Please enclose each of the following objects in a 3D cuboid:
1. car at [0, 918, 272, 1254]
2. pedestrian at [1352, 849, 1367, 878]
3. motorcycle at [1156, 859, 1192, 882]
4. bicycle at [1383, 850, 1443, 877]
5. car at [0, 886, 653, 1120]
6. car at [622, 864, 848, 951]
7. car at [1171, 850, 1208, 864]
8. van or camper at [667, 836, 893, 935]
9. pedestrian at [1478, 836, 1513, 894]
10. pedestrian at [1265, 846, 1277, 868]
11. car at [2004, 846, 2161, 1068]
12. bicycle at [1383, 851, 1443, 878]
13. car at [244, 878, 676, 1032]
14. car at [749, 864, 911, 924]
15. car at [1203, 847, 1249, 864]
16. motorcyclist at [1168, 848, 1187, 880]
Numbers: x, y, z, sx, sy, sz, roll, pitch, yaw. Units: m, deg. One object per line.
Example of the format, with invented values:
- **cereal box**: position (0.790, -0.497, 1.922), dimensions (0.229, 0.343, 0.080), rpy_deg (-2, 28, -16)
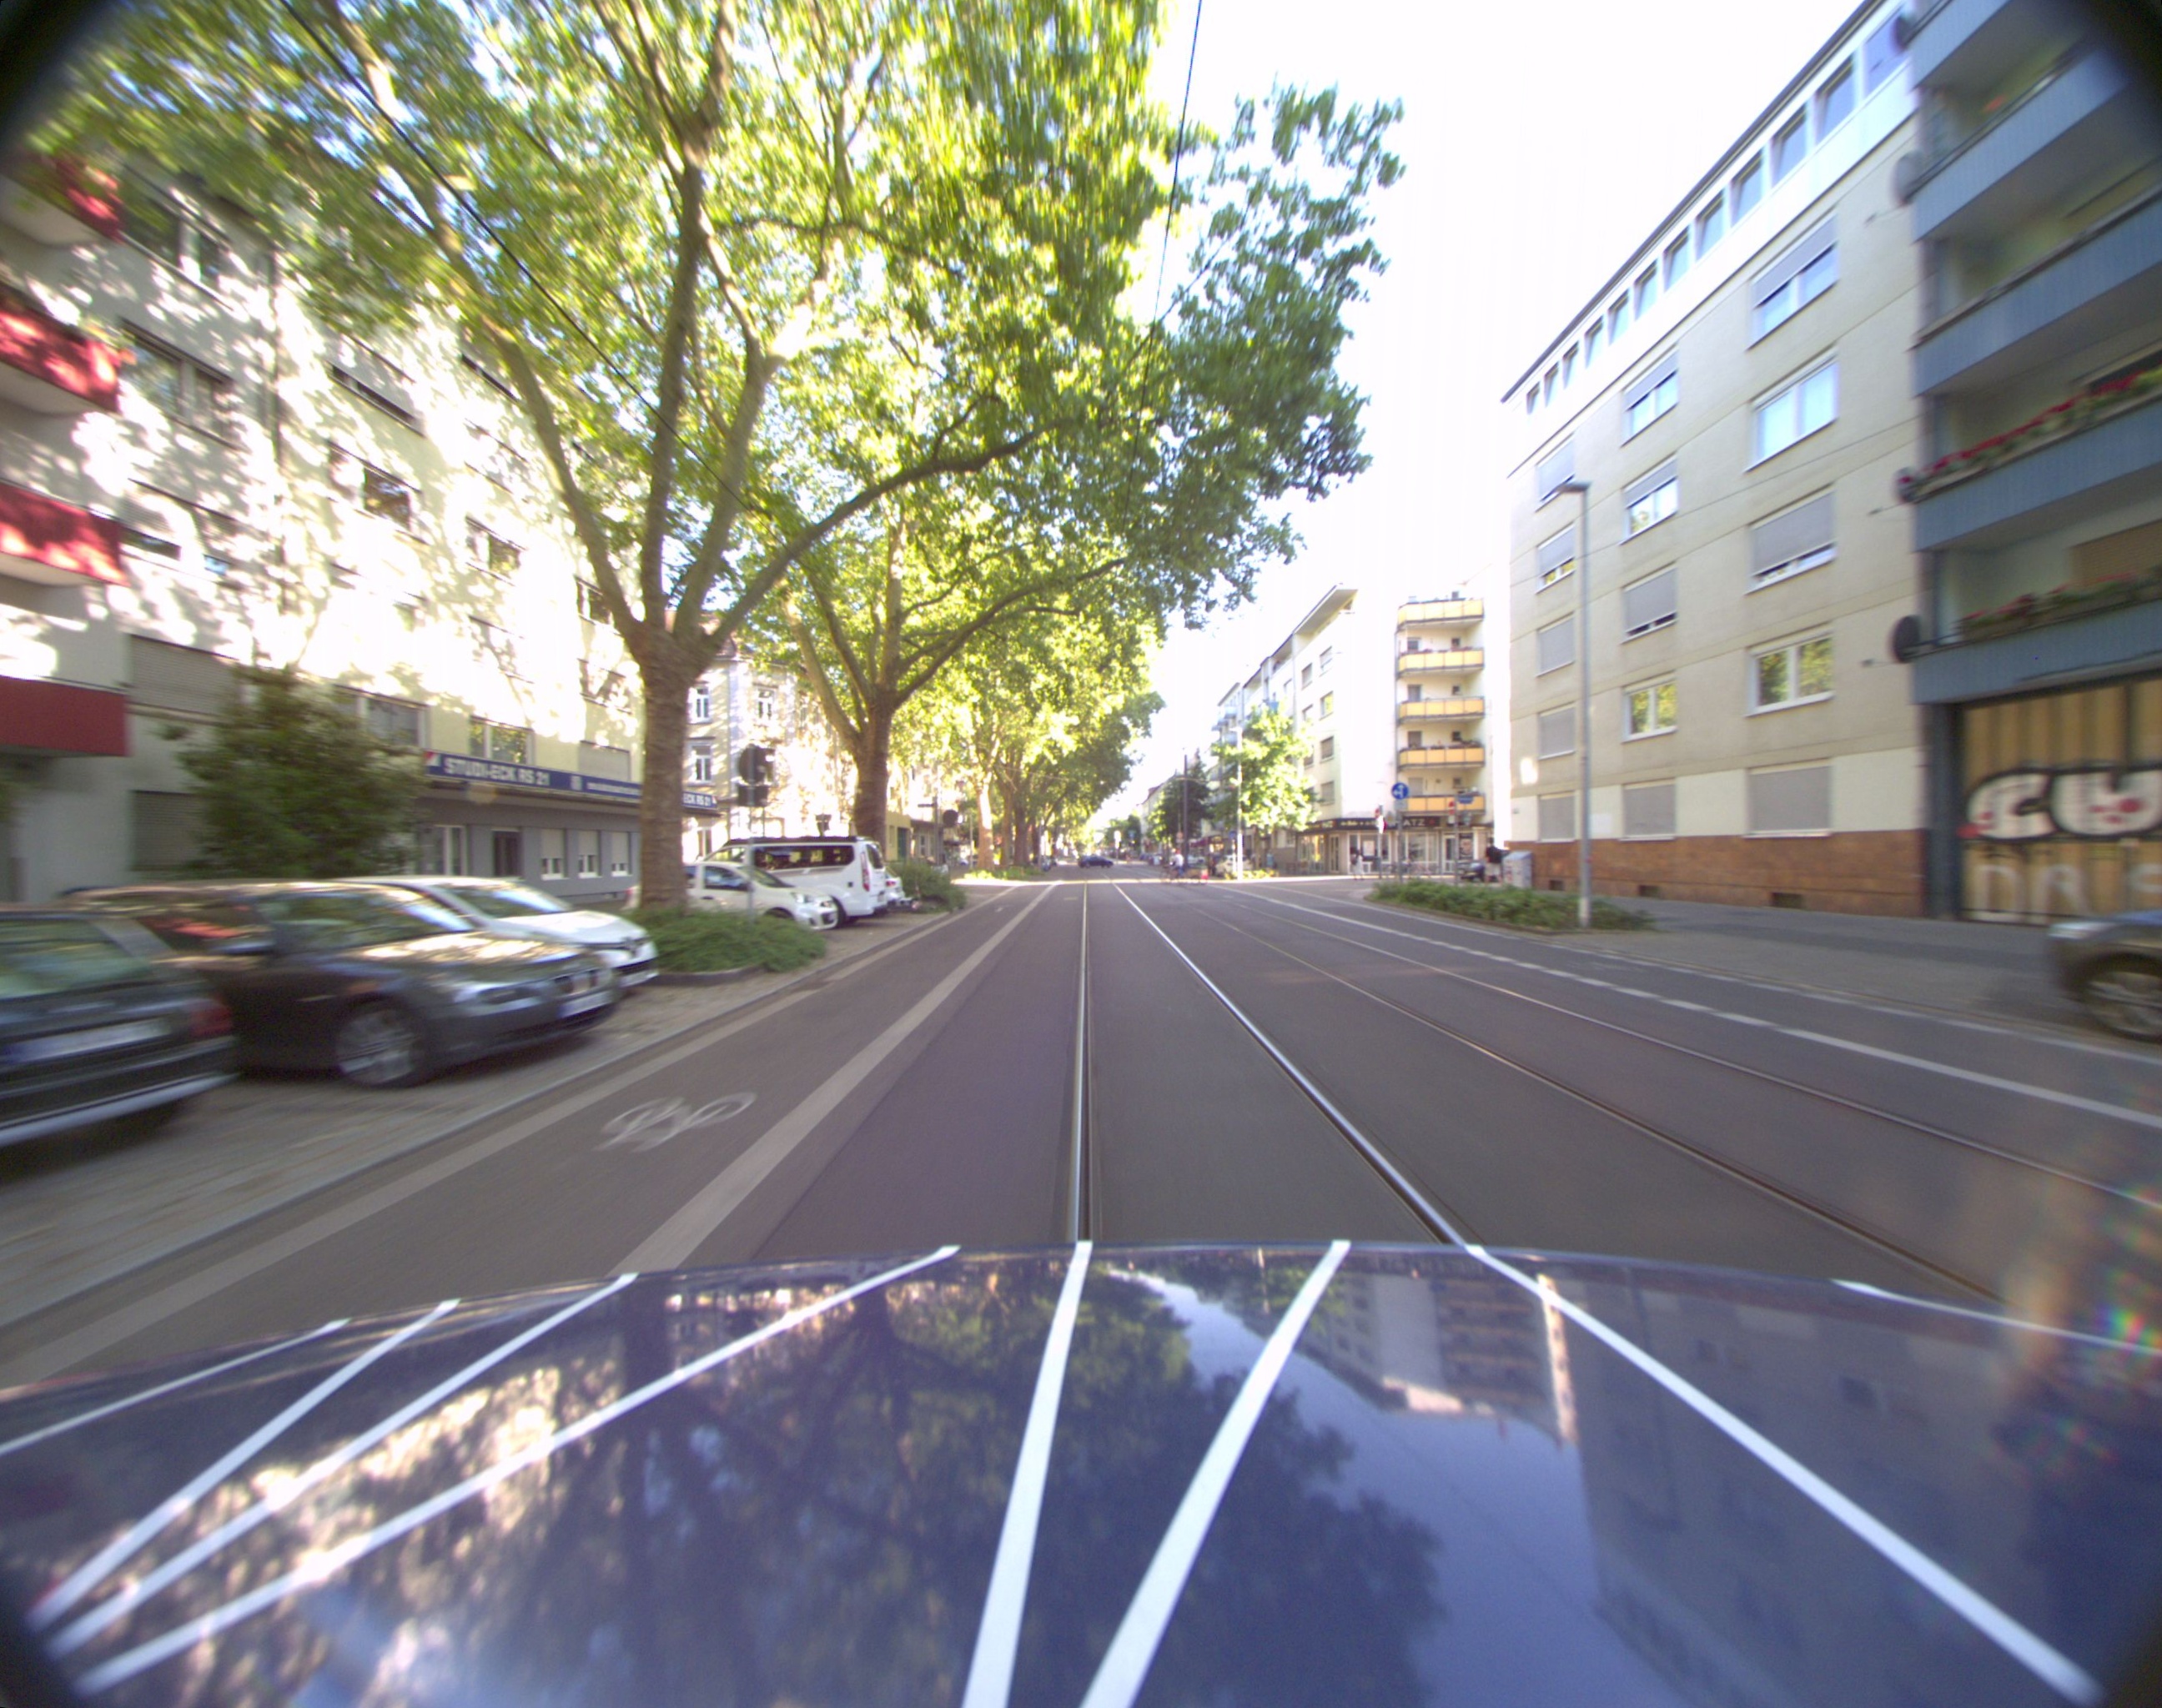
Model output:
- **car**: position (-6.914, 1.117, 3.795), dimensions (3.836, 1.435, 1.699), rpy_deg (0, 1, -2)
- **pedestrian**: position (14.523, 0.496, 39.625), dimensions (0.595, 1.496, 0.656), rpy_deg (-2, 1, 8)
- **motorcycle**: position (4.773, 0.844, 39.093), dimensions (1.827, 1.112, 0.591), rpy_deg (0, 1, 43)
- **bicycle**: position (17.440, 0.496, 39.955), dimensions (2.804, 1.306, 0.539), rpy_deg (-2, 1, 20)
- **car**: position (-6.125, 1.061, 6.178), dimensions (4.206, 1.473, 1.911), rpy_deg (0, 1, 2)
- **car**: position (-6.550, 0.986, 14.679), dimensions (3.572, 1.522, 1.677), rpy_deg (-1, 1, -1)
- **car**: position (11.753, 0.330, 82.525), dimensions (3.953, 1.515, 1.587), rpy_deg (-1, 1, 4)
- **van or camper**: position (-6.683, 0.667, 17.282), dimensions (4.388, 2.097, 1.838), rpy_deg (0, 1, -3)
- **pedestrian**: position (13.853, 0.375, 25.430), dimensions (0.773, 1.888, 0.799), rpy_deg (-2, 1, 8)
- **pedestrian**: position (13.405, 0.220, 53.609), dimensions (0.596, 1.496, 0.655), rpy_deg (-2, 1, 1)
- **car**: position (9.584, 0.829, 4.881), dimensions (1.784, 1.728, 4.488), rpy_deg (-2, 0, -2)
- **bicycle**: position (17.185, 0.539, 39.378), dimensions (2.804, 1.306, 0.539), rpy_deg (-2, 1, 20)
- **car**: position (-6.719, 1.049, 8.514), dimensions (3.483, 1.473, 1.643), rpy_deg (0, 1, 0)
- **car**: position (-6.420, 1.006, 19.656), dimensions (3.570, 1.431, 1.726), rpy_deg (-1, 1, 4)
- **car**: position (13.065, 0.154, 68.747), dimensions (3.953, 1.515, 1.587), rpy_deg (-1, 1, 4)
- **motorcyclist**: position (4.928, 0.491, 38.948), dimensions (0.754, 1.609, 0.590), rpy_deg (0, 1, 42)
